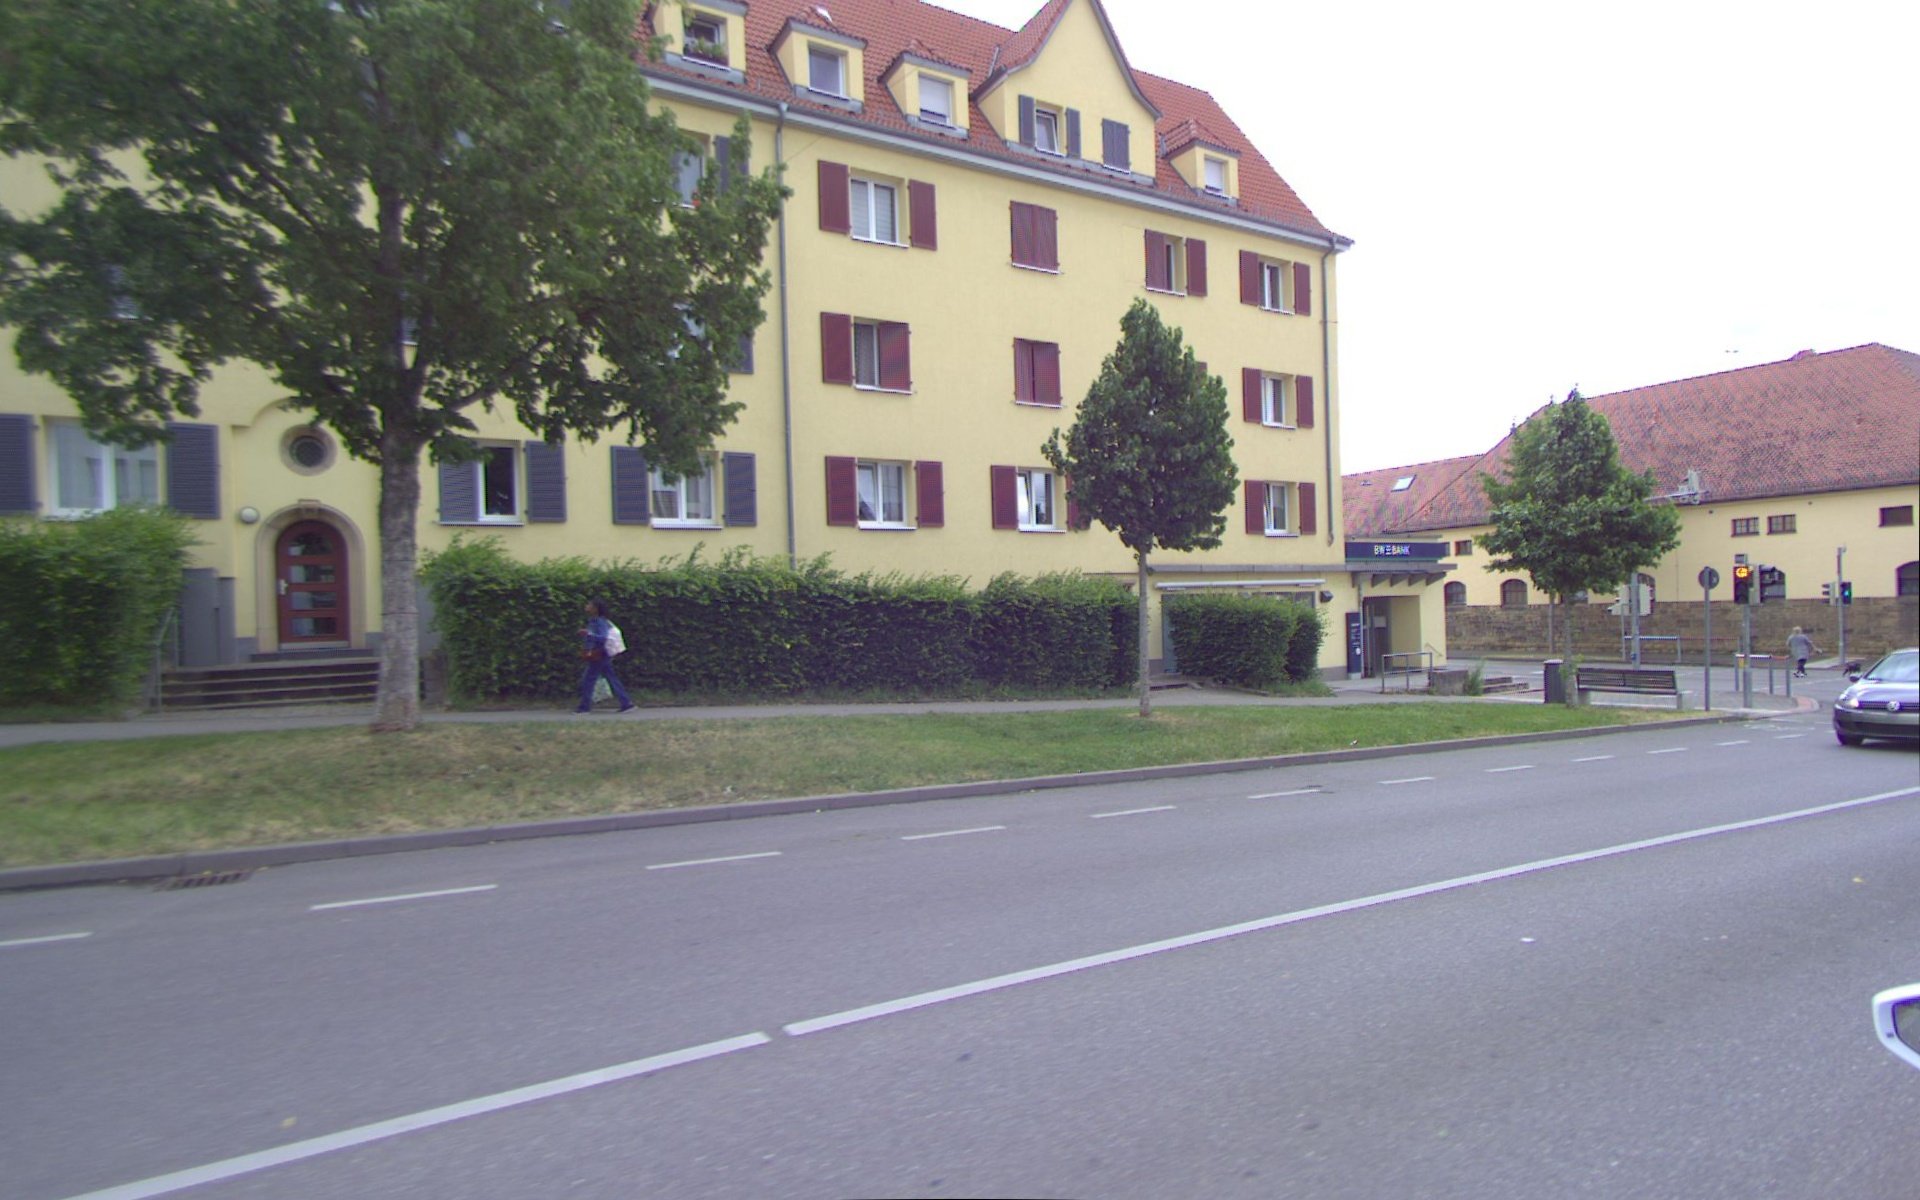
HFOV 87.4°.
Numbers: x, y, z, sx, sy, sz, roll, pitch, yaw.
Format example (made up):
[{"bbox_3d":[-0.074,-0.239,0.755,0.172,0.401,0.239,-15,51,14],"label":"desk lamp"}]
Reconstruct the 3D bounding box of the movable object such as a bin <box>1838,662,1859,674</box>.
[{"bbox_3d":[28.254,2.157,31.928,0.573,0.352,0.305,0,-1,-25],"label":"movable object such as a bin"}]

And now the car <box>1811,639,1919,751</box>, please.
[{"bbox_3d":[14.747,1.341,14.994,4.254,1.492,1.749,0,-2,-29],"label":"car"}]

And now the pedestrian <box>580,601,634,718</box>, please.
[{"bbox_3d":[-5.085,0.838,14.458,0.611,1.640,0.637,0,-1,-31],"label":"pedestrian"}]

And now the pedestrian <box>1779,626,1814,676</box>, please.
[{"bbox_3d":[26.859,1.626,32.247,0.831,1.587,0.562,0,-1,-25],"label":"pedestrian"}]
